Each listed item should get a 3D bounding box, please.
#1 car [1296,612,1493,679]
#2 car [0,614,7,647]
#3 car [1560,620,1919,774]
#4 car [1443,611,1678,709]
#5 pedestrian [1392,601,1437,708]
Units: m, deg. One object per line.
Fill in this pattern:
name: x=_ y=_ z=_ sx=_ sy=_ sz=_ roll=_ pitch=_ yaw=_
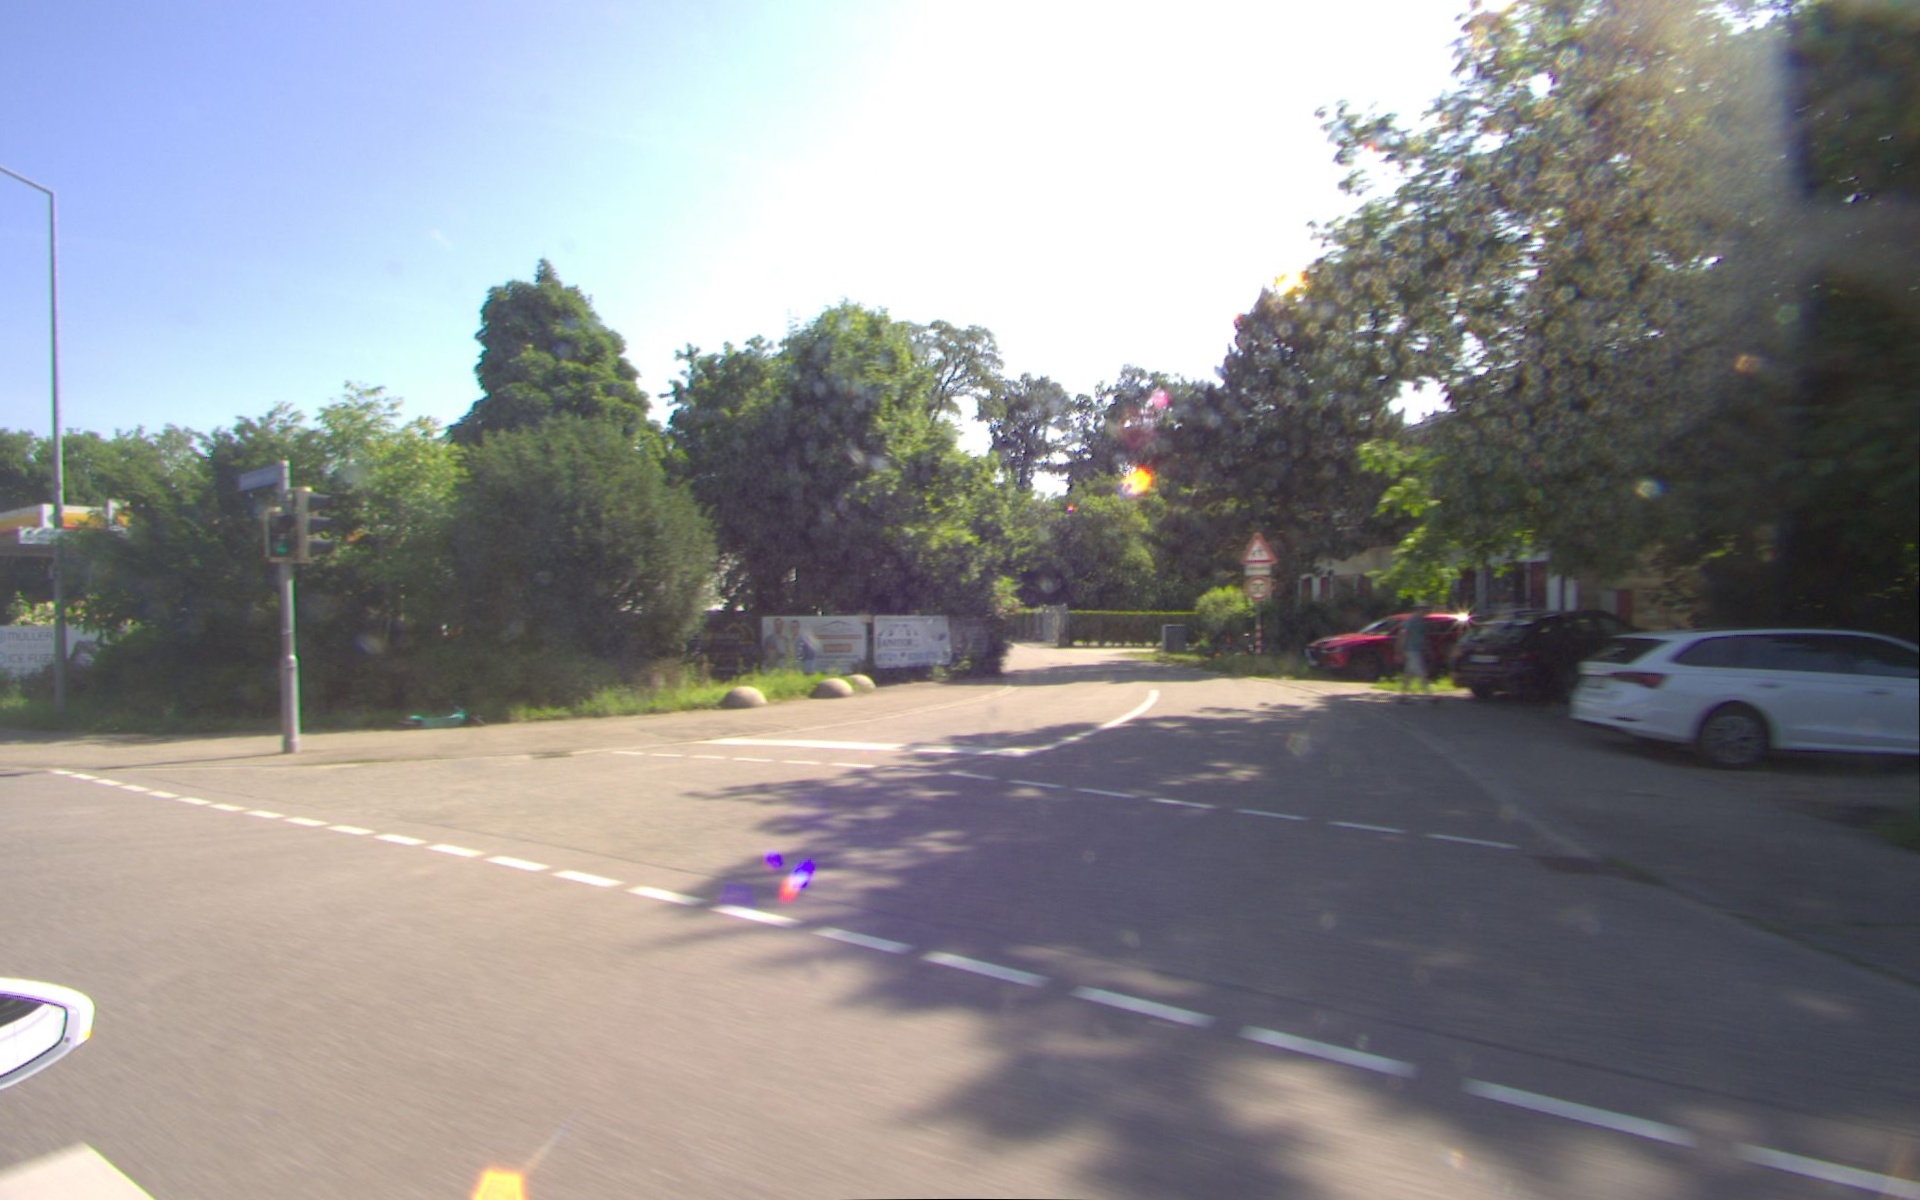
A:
car: x=10.123 y=1.035 z=23.503 sx=3.910 sy=1.483 sz=1.629 roll=-1 pitch=0 yaw=-1
car: x=-54.035 y=1.671 z=54.620 sx=3.942 sy=1.788 sz=1.991 roll=-1 pitch=-2 yaw=31
car: x=9.244 y=0.977 z=10.737 sx=4.529 sy=1.483 sz=1.627 roll=-1 pitch=0 yaw=14
car: x=10.218 y=0.952 z=17.031 sx=3.730 sy=1.483 sz=1.623 roll=0 pitch=0 yaw=-25
pedestrian: x=7.186 y=0.852 z=15.845 sx=0.599 sy=1.651 sz=0.414 roll=0 pitch=1 yaw=17
